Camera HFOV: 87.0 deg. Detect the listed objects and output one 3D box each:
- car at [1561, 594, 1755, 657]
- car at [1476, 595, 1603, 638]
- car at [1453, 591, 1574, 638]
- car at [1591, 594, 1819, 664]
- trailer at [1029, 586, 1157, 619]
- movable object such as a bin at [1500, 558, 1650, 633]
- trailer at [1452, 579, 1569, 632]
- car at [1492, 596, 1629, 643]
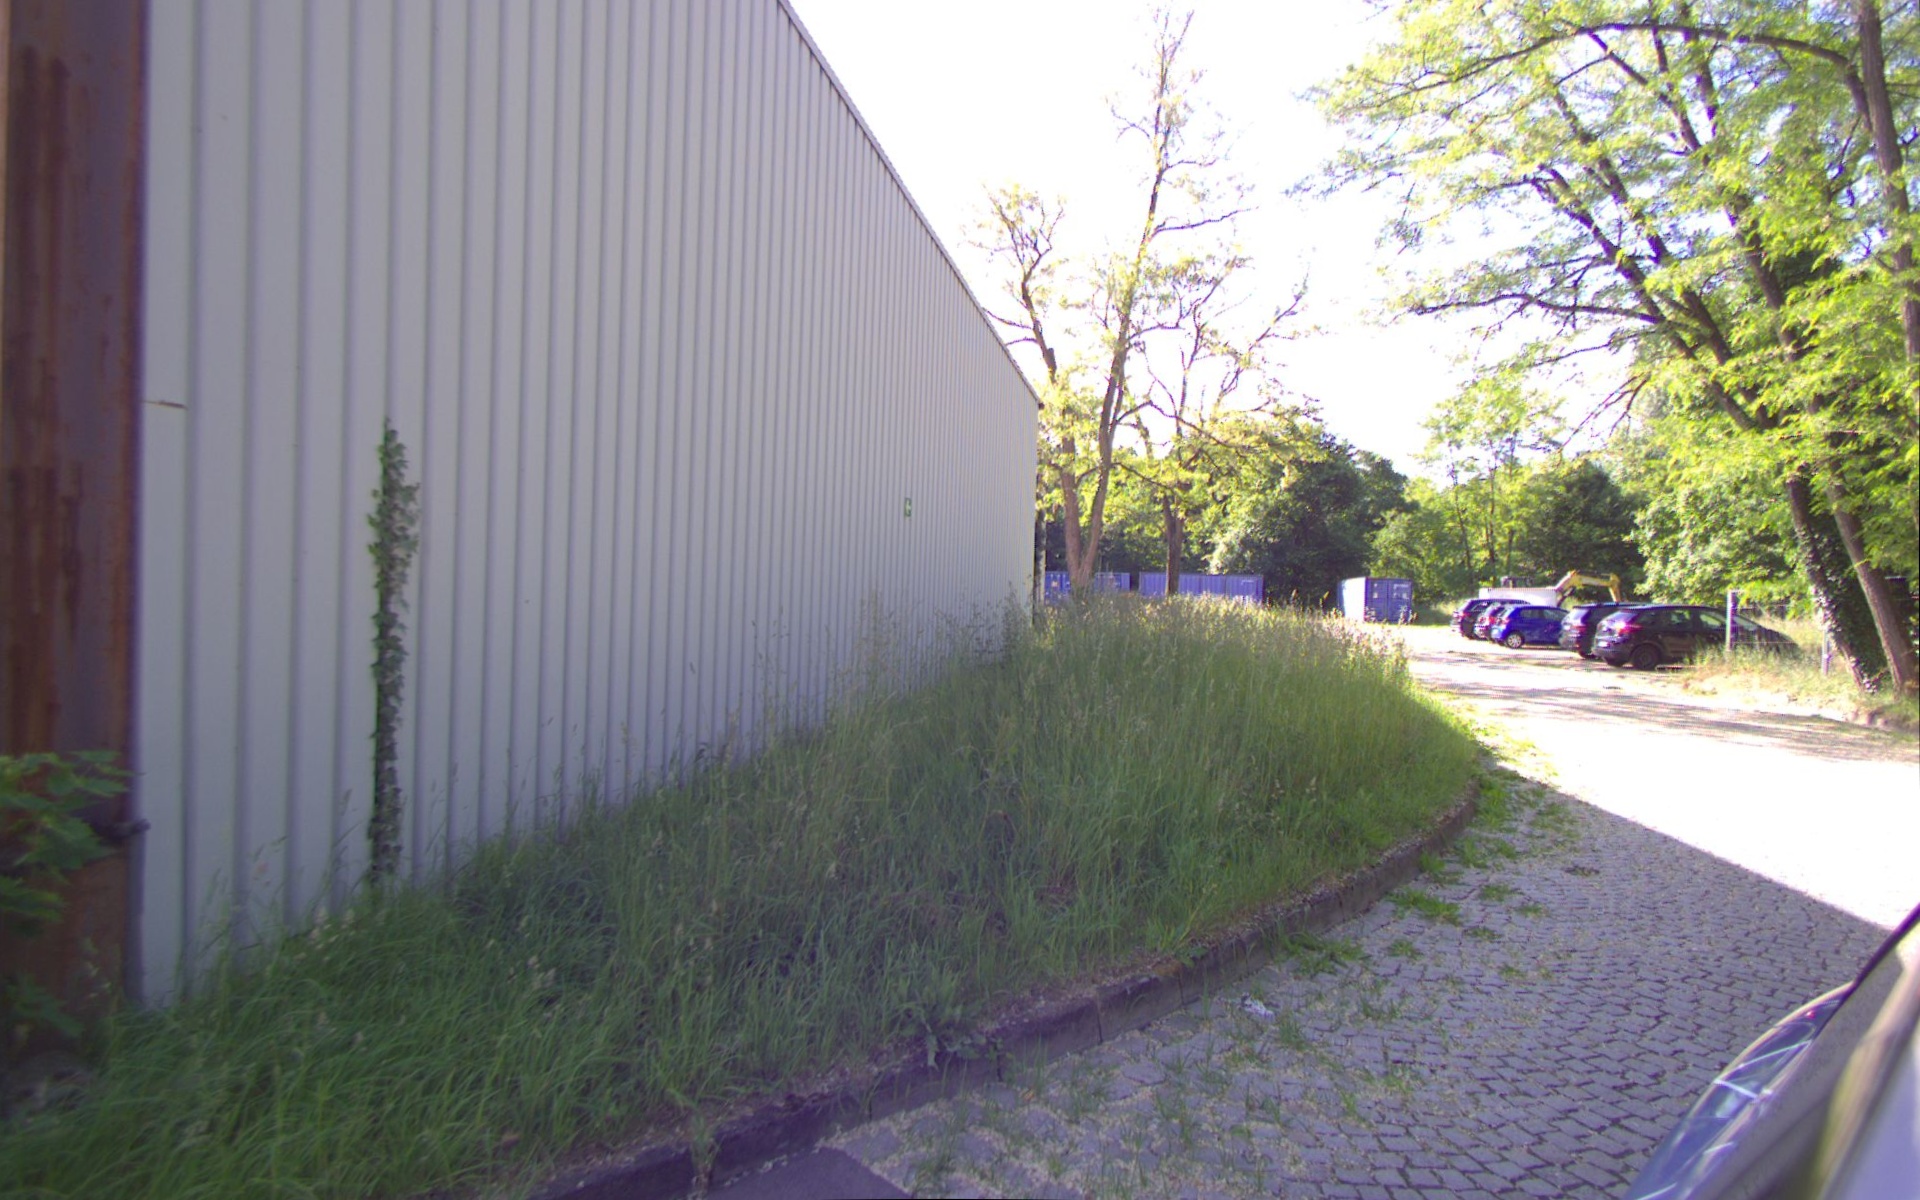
[{"bbox_3d":[19.632,0.684,28.664,4.130,1.677,1.809,0,0,15],"label":"car"},{"bbox_3d":[20.838,0.580,36.566,3.612,1.469,1.825,0,1,16],"label":"car"},{"bbox_3d":[21.236,0.529,38.978,3.770,1.662,1.857,1,0,18],"label":"car"},{"bbox_3d":[18.676,0.708,25.582,4.232,1.673,1.788,-1,0,11],"label":"car"},{"bbox_3d":[7.079,0.110,53.562,6.401,1.536,2.842,1,2,16],"label":"trailer"},{"bbox_3d":[26.141,-0.218,43.229,5.101,3.003,1.987,2,0,21],"label":"movable object such as a bin"},{"bbox_3d":[22.553,0.214,41.597,3.918,2.120,1.630,0,0,17],"label":"trailer"},{"bbox_3d":[20.119,0.666,34.063,3.615,1.512,1.704,-1,0,18],"label":"car"}]
